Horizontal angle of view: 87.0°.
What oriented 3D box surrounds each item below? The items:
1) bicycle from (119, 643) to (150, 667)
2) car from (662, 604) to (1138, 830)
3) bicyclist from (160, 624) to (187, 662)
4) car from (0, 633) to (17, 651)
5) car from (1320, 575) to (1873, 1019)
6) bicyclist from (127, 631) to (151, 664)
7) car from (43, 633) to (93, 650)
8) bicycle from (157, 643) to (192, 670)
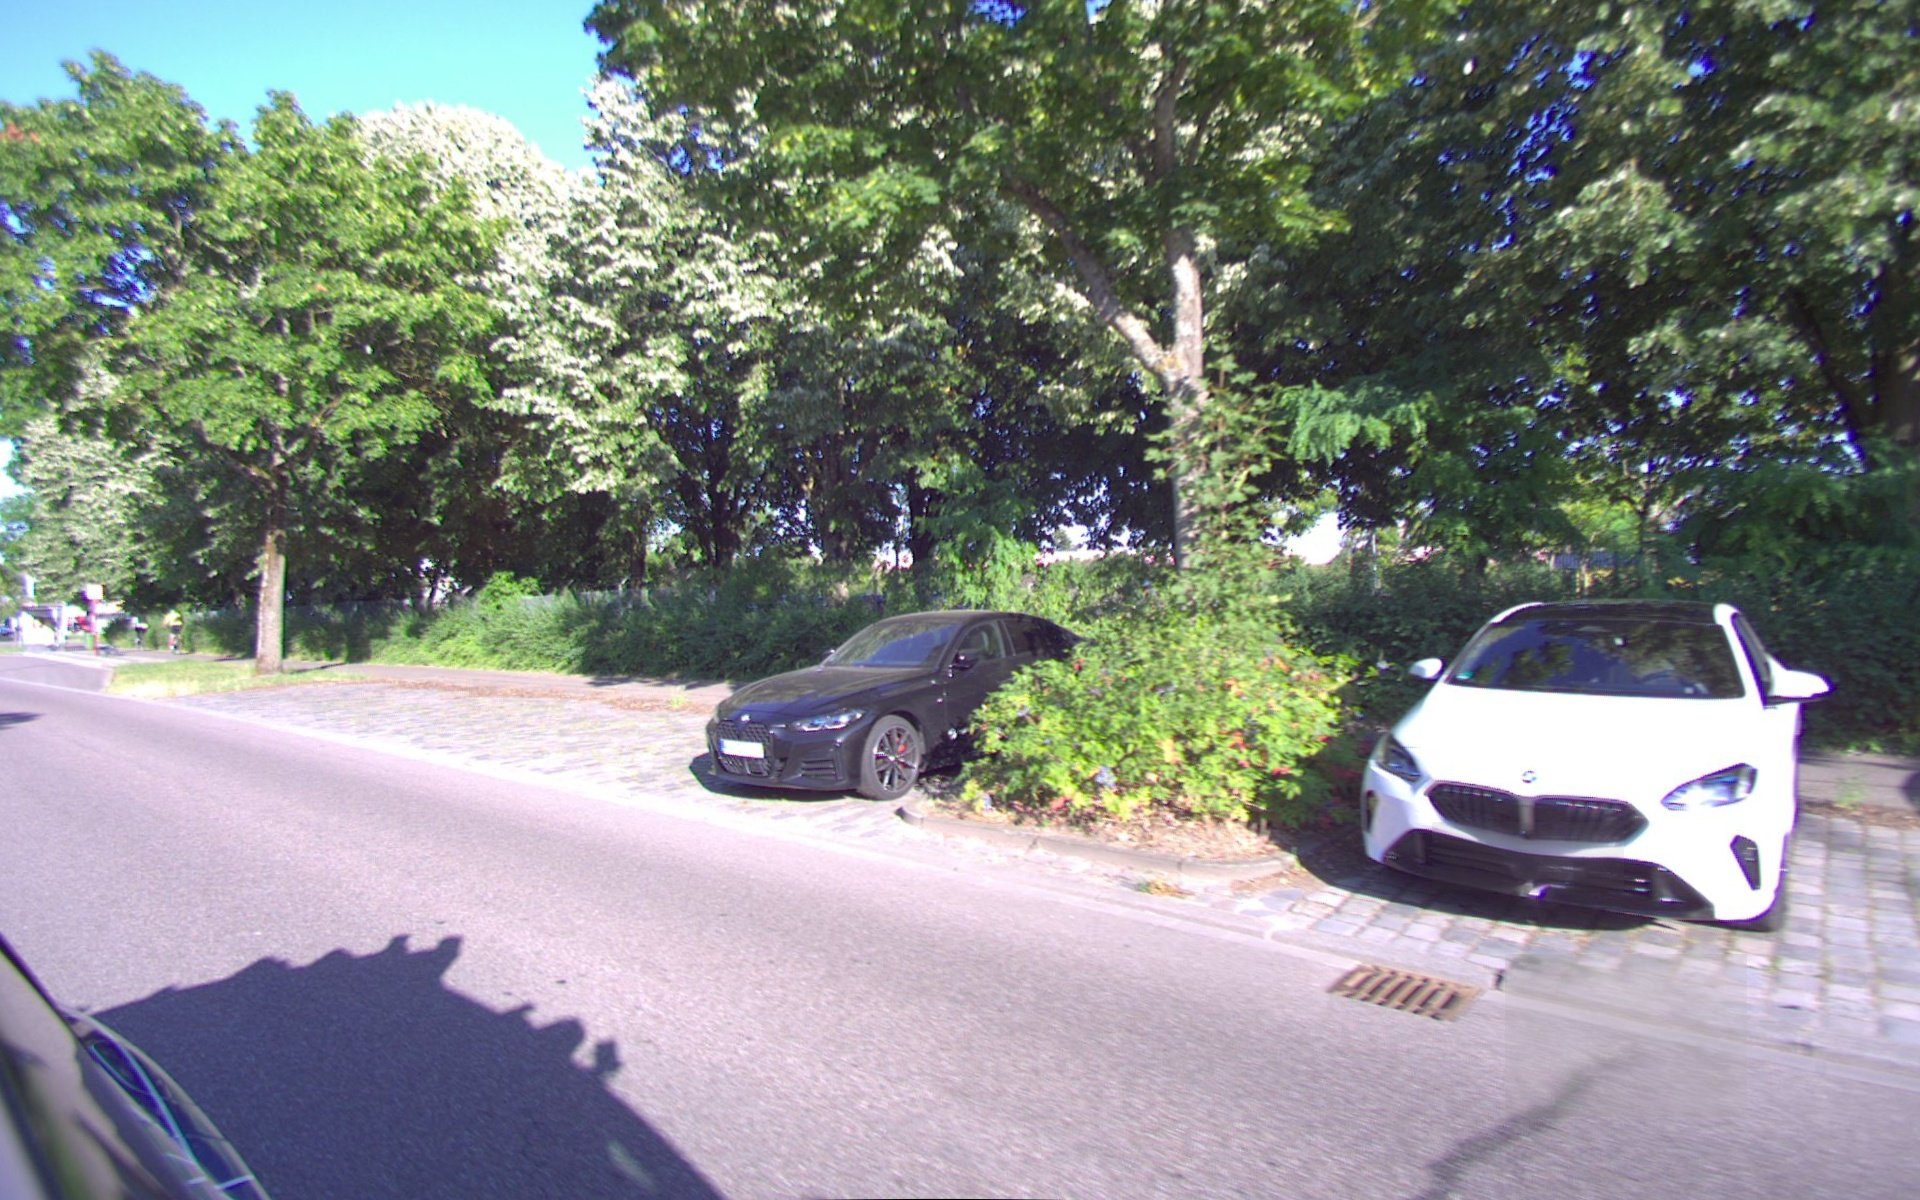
[{"bbox_3d":[-38.637,2.560,47.339,2.216,1.047,0.758,-2,-1,41],"label":"bicycle"},{"bbox_3d":[-0.288,0.873,9.642,1.914,1.432,4.605,-2,1,38],"label":"car"},{"bbox_3d":[-32.822,1.771,42.206,0.951,1.541,0.723,-2,-2,41],"label":"bicyclist"},{"bbox_3d":[-112.258,4.902,116.360,5.205,2.029,2.410,-1,-1,-10],"label":"car"},{"bbox_3d":[3.962,0.706,5.956,1.999,1.542,4.242,-2,1,41],"label":"car"},{"bbox_3d":[-38.213,2.206,47.094,0.951,1.541,0.723,-2,-2,41],"label":"bicyclist"},{"bbox_3d":[-115.592,5.398,131.168,4.787,2.029,2.295,-1,-1,6],"label":"car"},{"bbox_3d":[-32.715,2.340,42.128,2.216,1.047,0.757,-2,-2,41],"label":"bicycle"}]
